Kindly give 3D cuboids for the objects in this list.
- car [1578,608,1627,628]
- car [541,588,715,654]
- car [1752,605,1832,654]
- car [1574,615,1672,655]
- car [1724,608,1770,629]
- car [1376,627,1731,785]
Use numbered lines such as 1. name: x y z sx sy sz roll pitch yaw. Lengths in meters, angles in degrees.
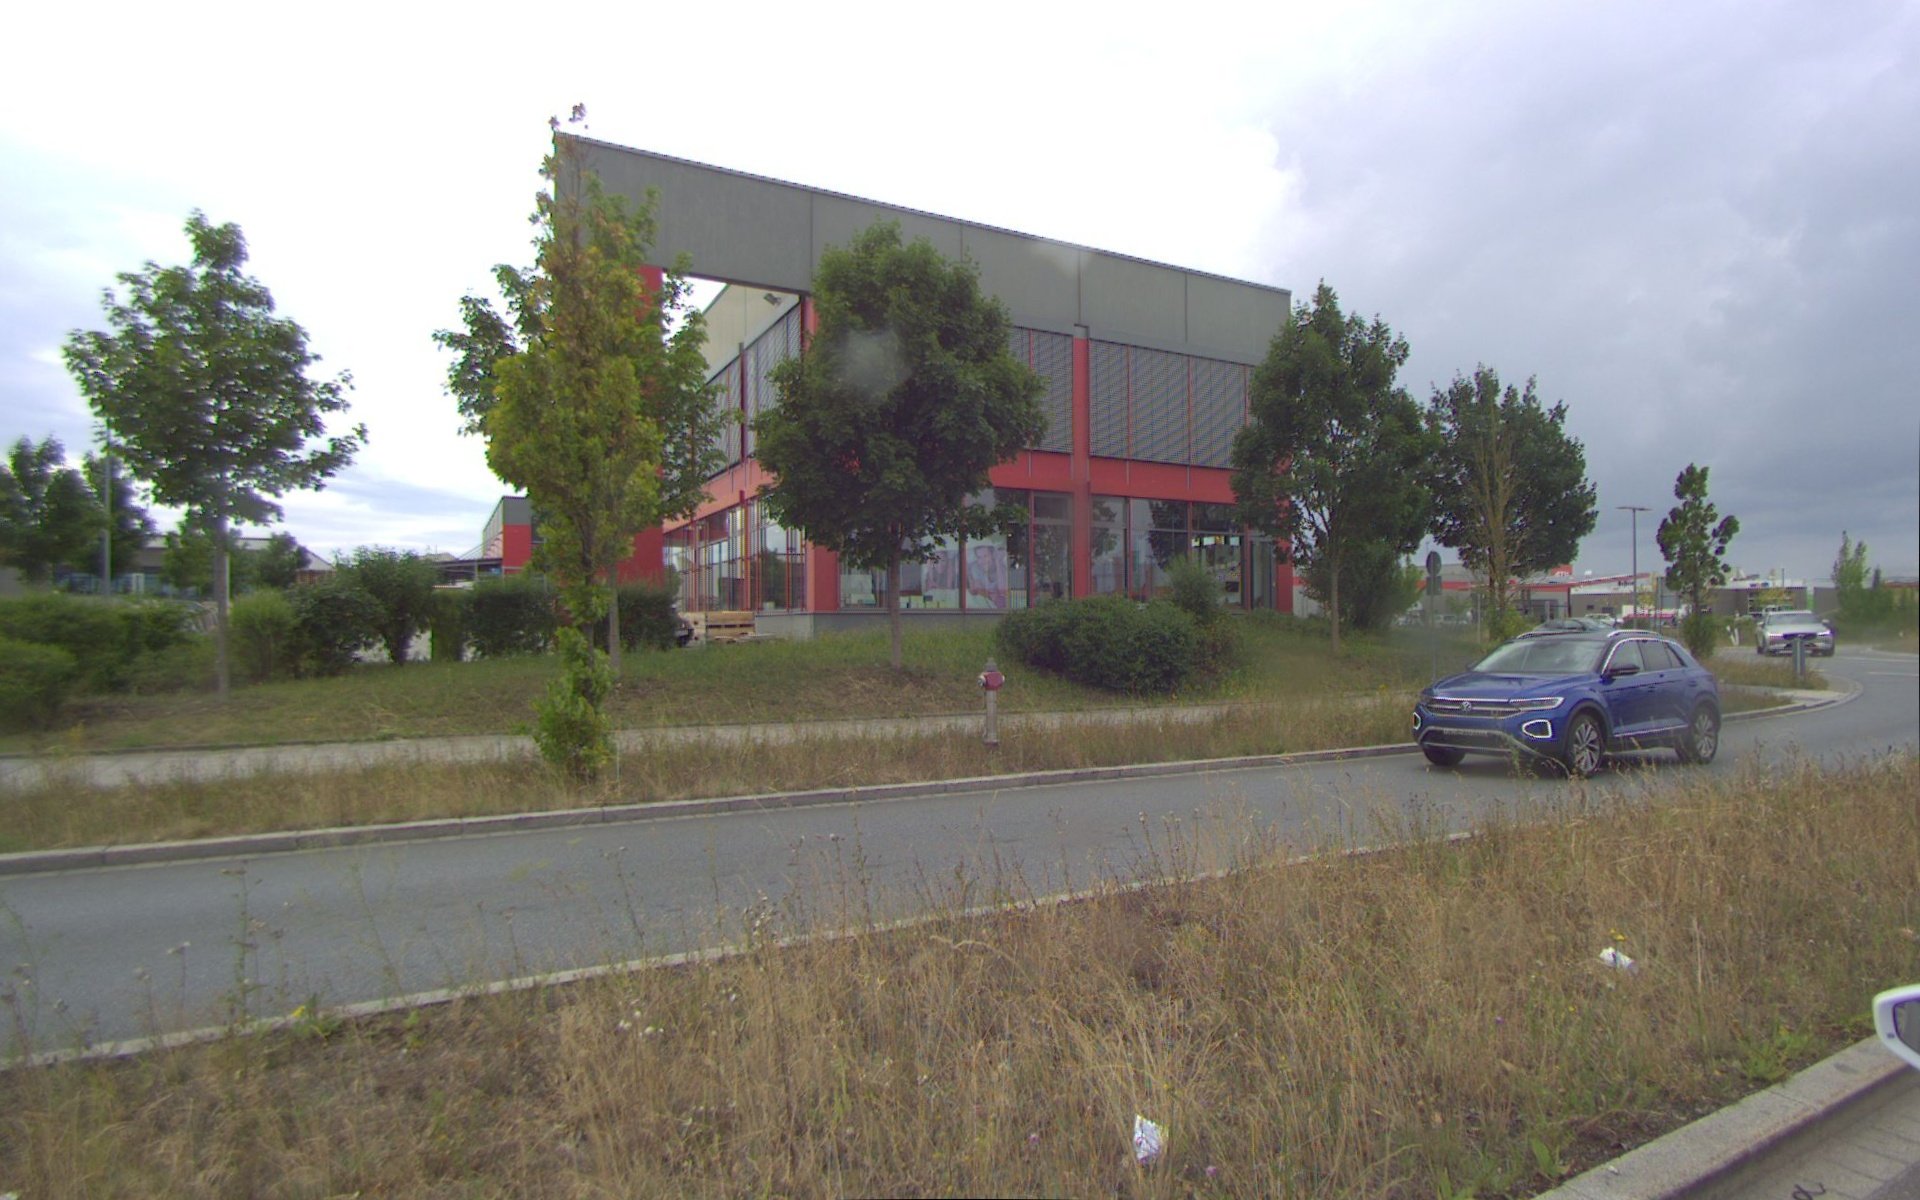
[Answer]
1. car: 67.699 1.884 105.866 1.977 2.040 3.967 1 -1 -30
2. car: -8.614 0.523 25.987 4.311 1.572 1.995 0 -1 32
3. car: 30.853 1.082 37.365 2.000 1.713 4.200 0 -1 36
4. car: 26.245 1.341 39.949 1.745 1.504 4.415 0 -1 12
5. car: 73.390 1.697 93.658 3.951 1.884 1.985 1 -1 -29
6. car: 6.996 1.135 11.763 4.181 1.548 1.832 2 -3 -32
